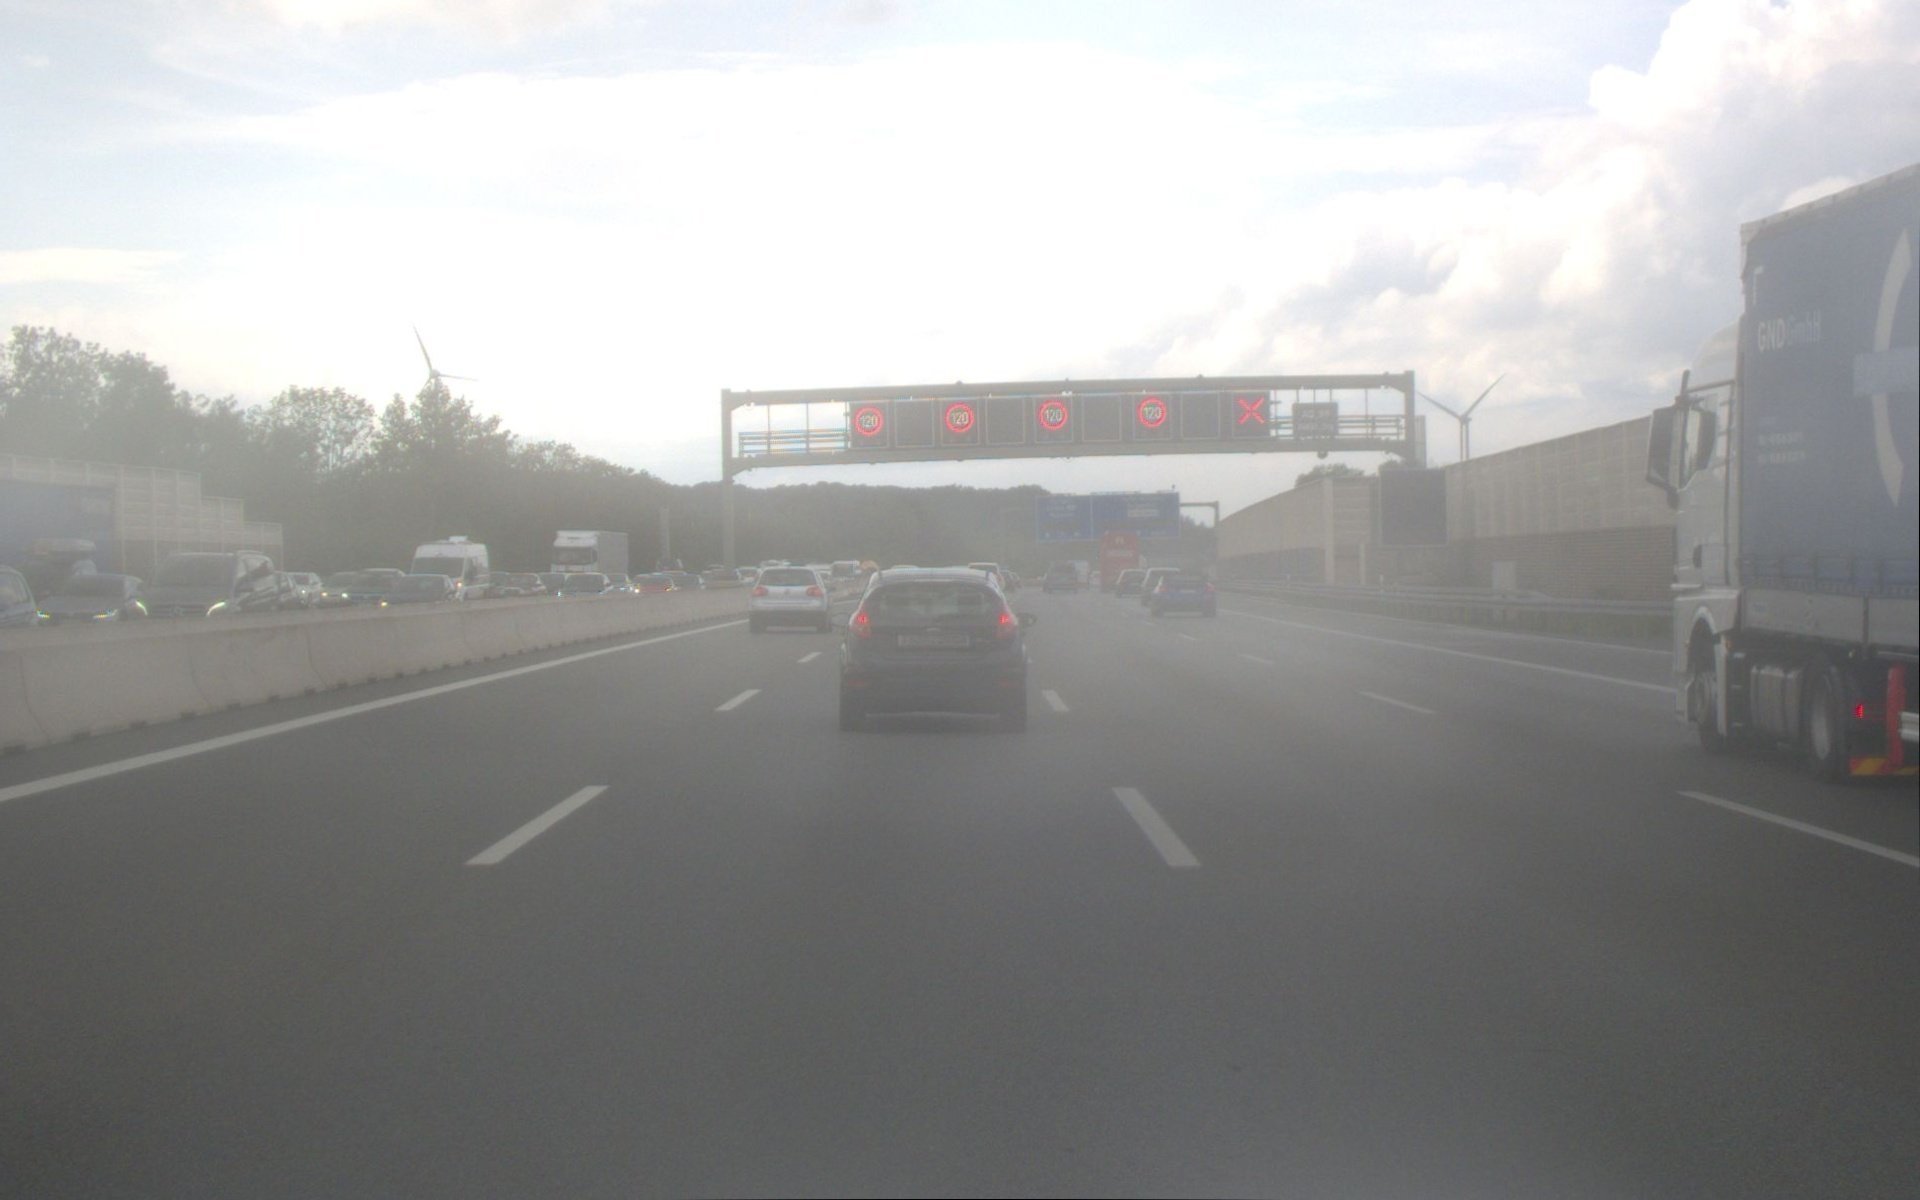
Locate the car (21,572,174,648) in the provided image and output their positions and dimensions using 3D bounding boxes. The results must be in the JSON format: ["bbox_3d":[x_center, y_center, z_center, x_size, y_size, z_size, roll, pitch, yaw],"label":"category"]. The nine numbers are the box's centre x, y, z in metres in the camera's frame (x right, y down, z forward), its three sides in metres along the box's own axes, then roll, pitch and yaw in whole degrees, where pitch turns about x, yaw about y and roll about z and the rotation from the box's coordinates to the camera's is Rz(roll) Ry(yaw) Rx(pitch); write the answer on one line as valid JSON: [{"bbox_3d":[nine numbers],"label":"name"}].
[{"bbox_3d":[-18.577,0.205,74.293,2.060,1.594,4.997,0,0,0],"label":"car"}]

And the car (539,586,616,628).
[{"bbox_3d":[-13.829,0.244,124.504,2.060,1.486,4.997,0,0,2],"label":"car"}]

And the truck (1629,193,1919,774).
[{"bbox_3d":[7.156,-0.831,26.713,2.745,4.021,5.726,0,0,0],"label":"truck"}]

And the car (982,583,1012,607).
[{"bbox_3d":[2.409,-0.330,224.547,1.968,1.555,4.433,0,0,1],"label":"car"}]

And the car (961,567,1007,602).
[{"bbox_3d":[1.120,-0.705,157.755,1.968,1.555,4.432,0,0,2],"label":"car"}]

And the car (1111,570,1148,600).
[{"bbox_3d":[9.108,-0.784,185.139,1.882,1.555,4.432,0,0,2],"label":"car"}]

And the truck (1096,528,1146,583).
[{"bbox_3d":[10.965,-3.006,234.547,3.152,3.589,12.698,1,1,2],"label":"truck"}]

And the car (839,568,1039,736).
[{"bbox_3d":[-0.220,0.424,31.670,1.717,1.412,4.279,0,1,-1],"label":"car"}]

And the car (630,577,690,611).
[{"bbox_3d":[-13.219,-0.254,151.745,2.060,1.486,4.997,0,0,2],"label":"car"}]

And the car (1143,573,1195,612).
[{"bbox_3d":[8.518,-0.313,140.299,1.882,1.537,4.433,0,0,1],"label":"car"}]

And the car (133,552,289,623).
[{"bbox_3d":[-14.412,-0.270,66.431,1.873,1.295,5.601,0,1,-1],"label":"car"}]

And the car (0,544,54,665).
[{"bbox_3d":[-14.372,0.042,48.980,1.873,1.694,4.222,0,1,-1],"label":"car"}]

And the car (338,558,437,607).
[{"bbox_3d":[-17.676,-0.543,106.353,2.060,1.486,4.997,0,0,2],"label":"car"}]

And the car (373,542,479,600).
[{"bbox_3d":[-14.036,-0.758,90.688,2.060,1.486,4.997,0,0,0],"label":"car"}]

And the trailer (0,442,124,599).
[{"bbox_3d":[-26.012,-2.097,94.236,2.761,4.018,14.453,0,1,0],"label":"trailer"}]

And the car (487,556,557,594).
[{"bbox_3d":[-17.647,-1.000,138.768,2.060,1.486,4.997,0,0,2],"label":"car"}]

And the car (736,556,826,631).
[{"bbox_3d":[-3.985,-0.178,77.225,1.717,1.618,4.278,0,1,1],"label":"car"}]

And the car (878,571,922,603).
[{"bbox_3d":[-2.939,-0.628,169.617,1.968,1.555,4.432,0,0,2],"label":"car"}]

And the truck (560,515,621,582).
[{"bbox_3d":[-22.521,-3.128,209.781,2.972,4.021,5.726,0,0,2],"label":"truck"}]

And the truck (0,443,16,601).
[{"bbox_3d":[-25.931,-1.991,86.570,2.745,4.021,5.726,0,0,0],"label":"truck"}]

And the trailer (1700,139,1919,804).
[{"bbox_3d":[7.186,-0.759,19.488,2.761,4.018,14.453,0,1,0],"label":"trailer"}]

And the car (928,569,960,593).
[{"bbox_3d":[-1.031,-1.258,230.551,1.968,1.555,4.432,0,0,2],"label":"car"}]

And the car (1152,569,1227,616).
[{"bbox_3d":[6.992,-0.224,105.208,1.949,1.413,4.232,0,0,-1],"label":"car"}]

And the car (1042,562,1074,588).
[{"bbox_3d":[6.195,-1.590,217.219,1.968,1.555,4.433,0,0,2],"label":"car"}]
